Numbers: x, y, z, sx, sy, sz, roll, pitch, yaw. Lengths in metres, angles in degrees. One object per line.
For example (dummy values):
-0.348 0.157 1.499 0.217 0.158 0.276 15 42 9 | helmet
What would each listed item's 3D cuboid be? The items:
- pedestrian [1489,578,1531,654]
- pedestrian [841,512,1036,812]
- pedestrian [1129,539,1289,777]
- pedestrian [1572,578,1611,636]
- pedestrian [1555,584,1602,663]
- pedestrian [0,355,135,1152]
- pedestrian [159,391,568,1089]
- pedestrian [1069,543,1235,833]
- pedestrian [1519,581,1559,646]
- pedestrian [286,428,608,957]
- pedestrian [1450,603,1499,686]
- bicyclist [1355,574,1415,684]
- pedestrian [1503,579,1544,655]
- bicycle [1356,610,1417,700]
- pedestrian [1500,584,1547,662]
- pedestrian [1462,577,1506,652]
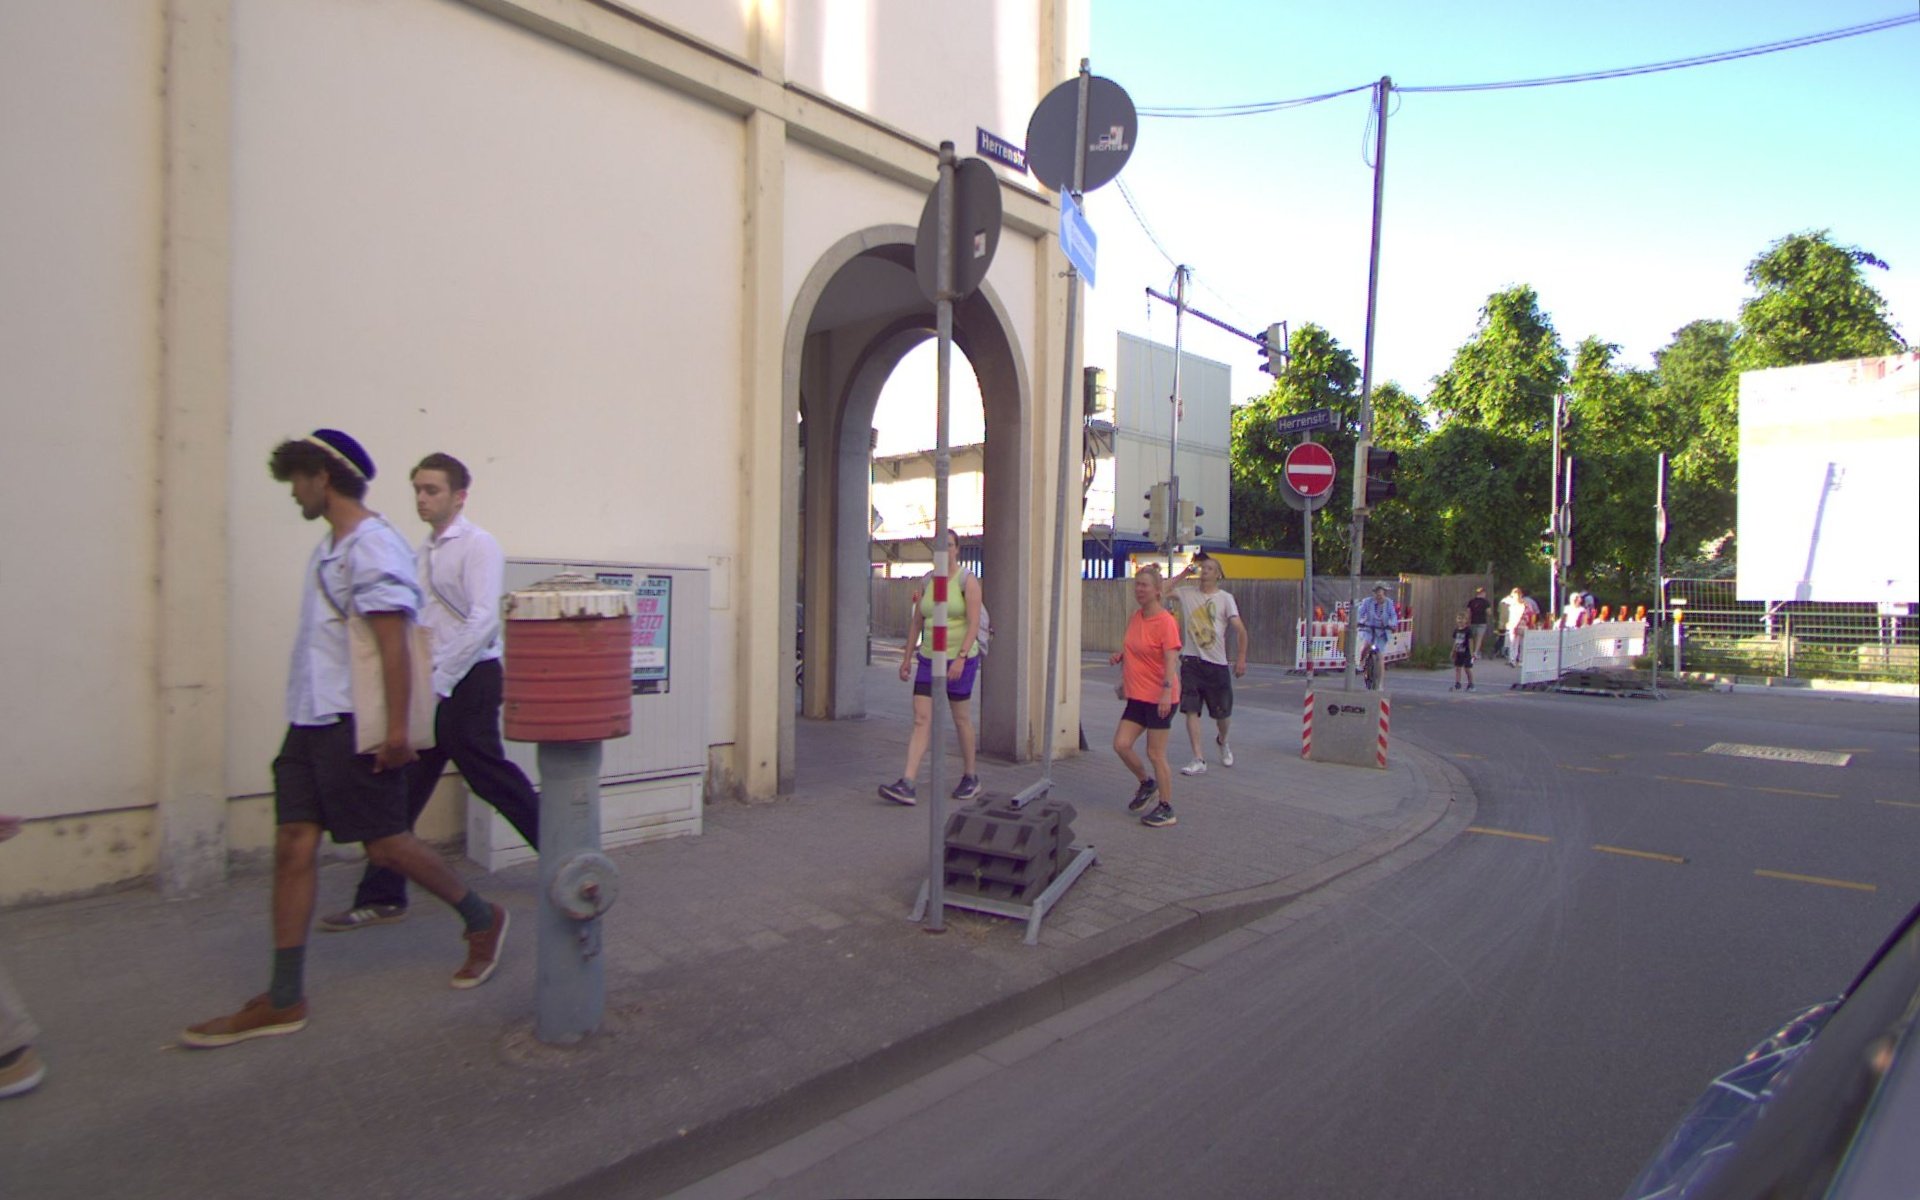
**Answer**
12.838 0.357 23.630 0.727 1.737 0.621 -1 2 -42 | pedestrian
-0.128 0.346 6.422 0.674 1.730 0.952 5 2 45 | pedestrian
1.982 0.413 8.052 0.961 1.750 0.796 1 2 -45 | pedestrian
16.532 0.161 26.487 0.758 1.480 0.665 -1 2 -41 | pedestrian
12.972 0.474 21.220 0.664 1.585 0.733 2 2 45 | pedestrian
-2.698 0.337 2.273 0.715 1.823 1.227 5 3 45 | pedestrian
-1.862 0.345 3.174 0.709 1.799 0.926 5 3 45 | pedestrian
1.188 0.500 6.252 0.618 1.644 0.715 5 2 45 | pedestrian
14.895 0.336 26.031 0.758 1.639 0.665 -1 2 -41 | pedestrian
-2.027 0.297 4.011 0.709 1.799 0.926 5 3 45 | pedestrian
8.460 0.732 16.645 0.609 1.316 0.493 4 -1 -42 | pedestrian
6.186 0.403 14.716 0.681 1.535 0.696 1 0 33 | bicyclist
13.515 0.389 24.267 0.727 1.793 0.621 -1 2 -42 | pedestrian
6.257 0.762 14.799 0.473 1.216 1.975 1 0 33 | bicycle
12.082 0.474 21.697 0.727 1.624 0.642 -1 2 -41 | pedestrian
12.833 0.338 24.767 0.727 1.793 0.722 -1 2 -41 | pedestrian
